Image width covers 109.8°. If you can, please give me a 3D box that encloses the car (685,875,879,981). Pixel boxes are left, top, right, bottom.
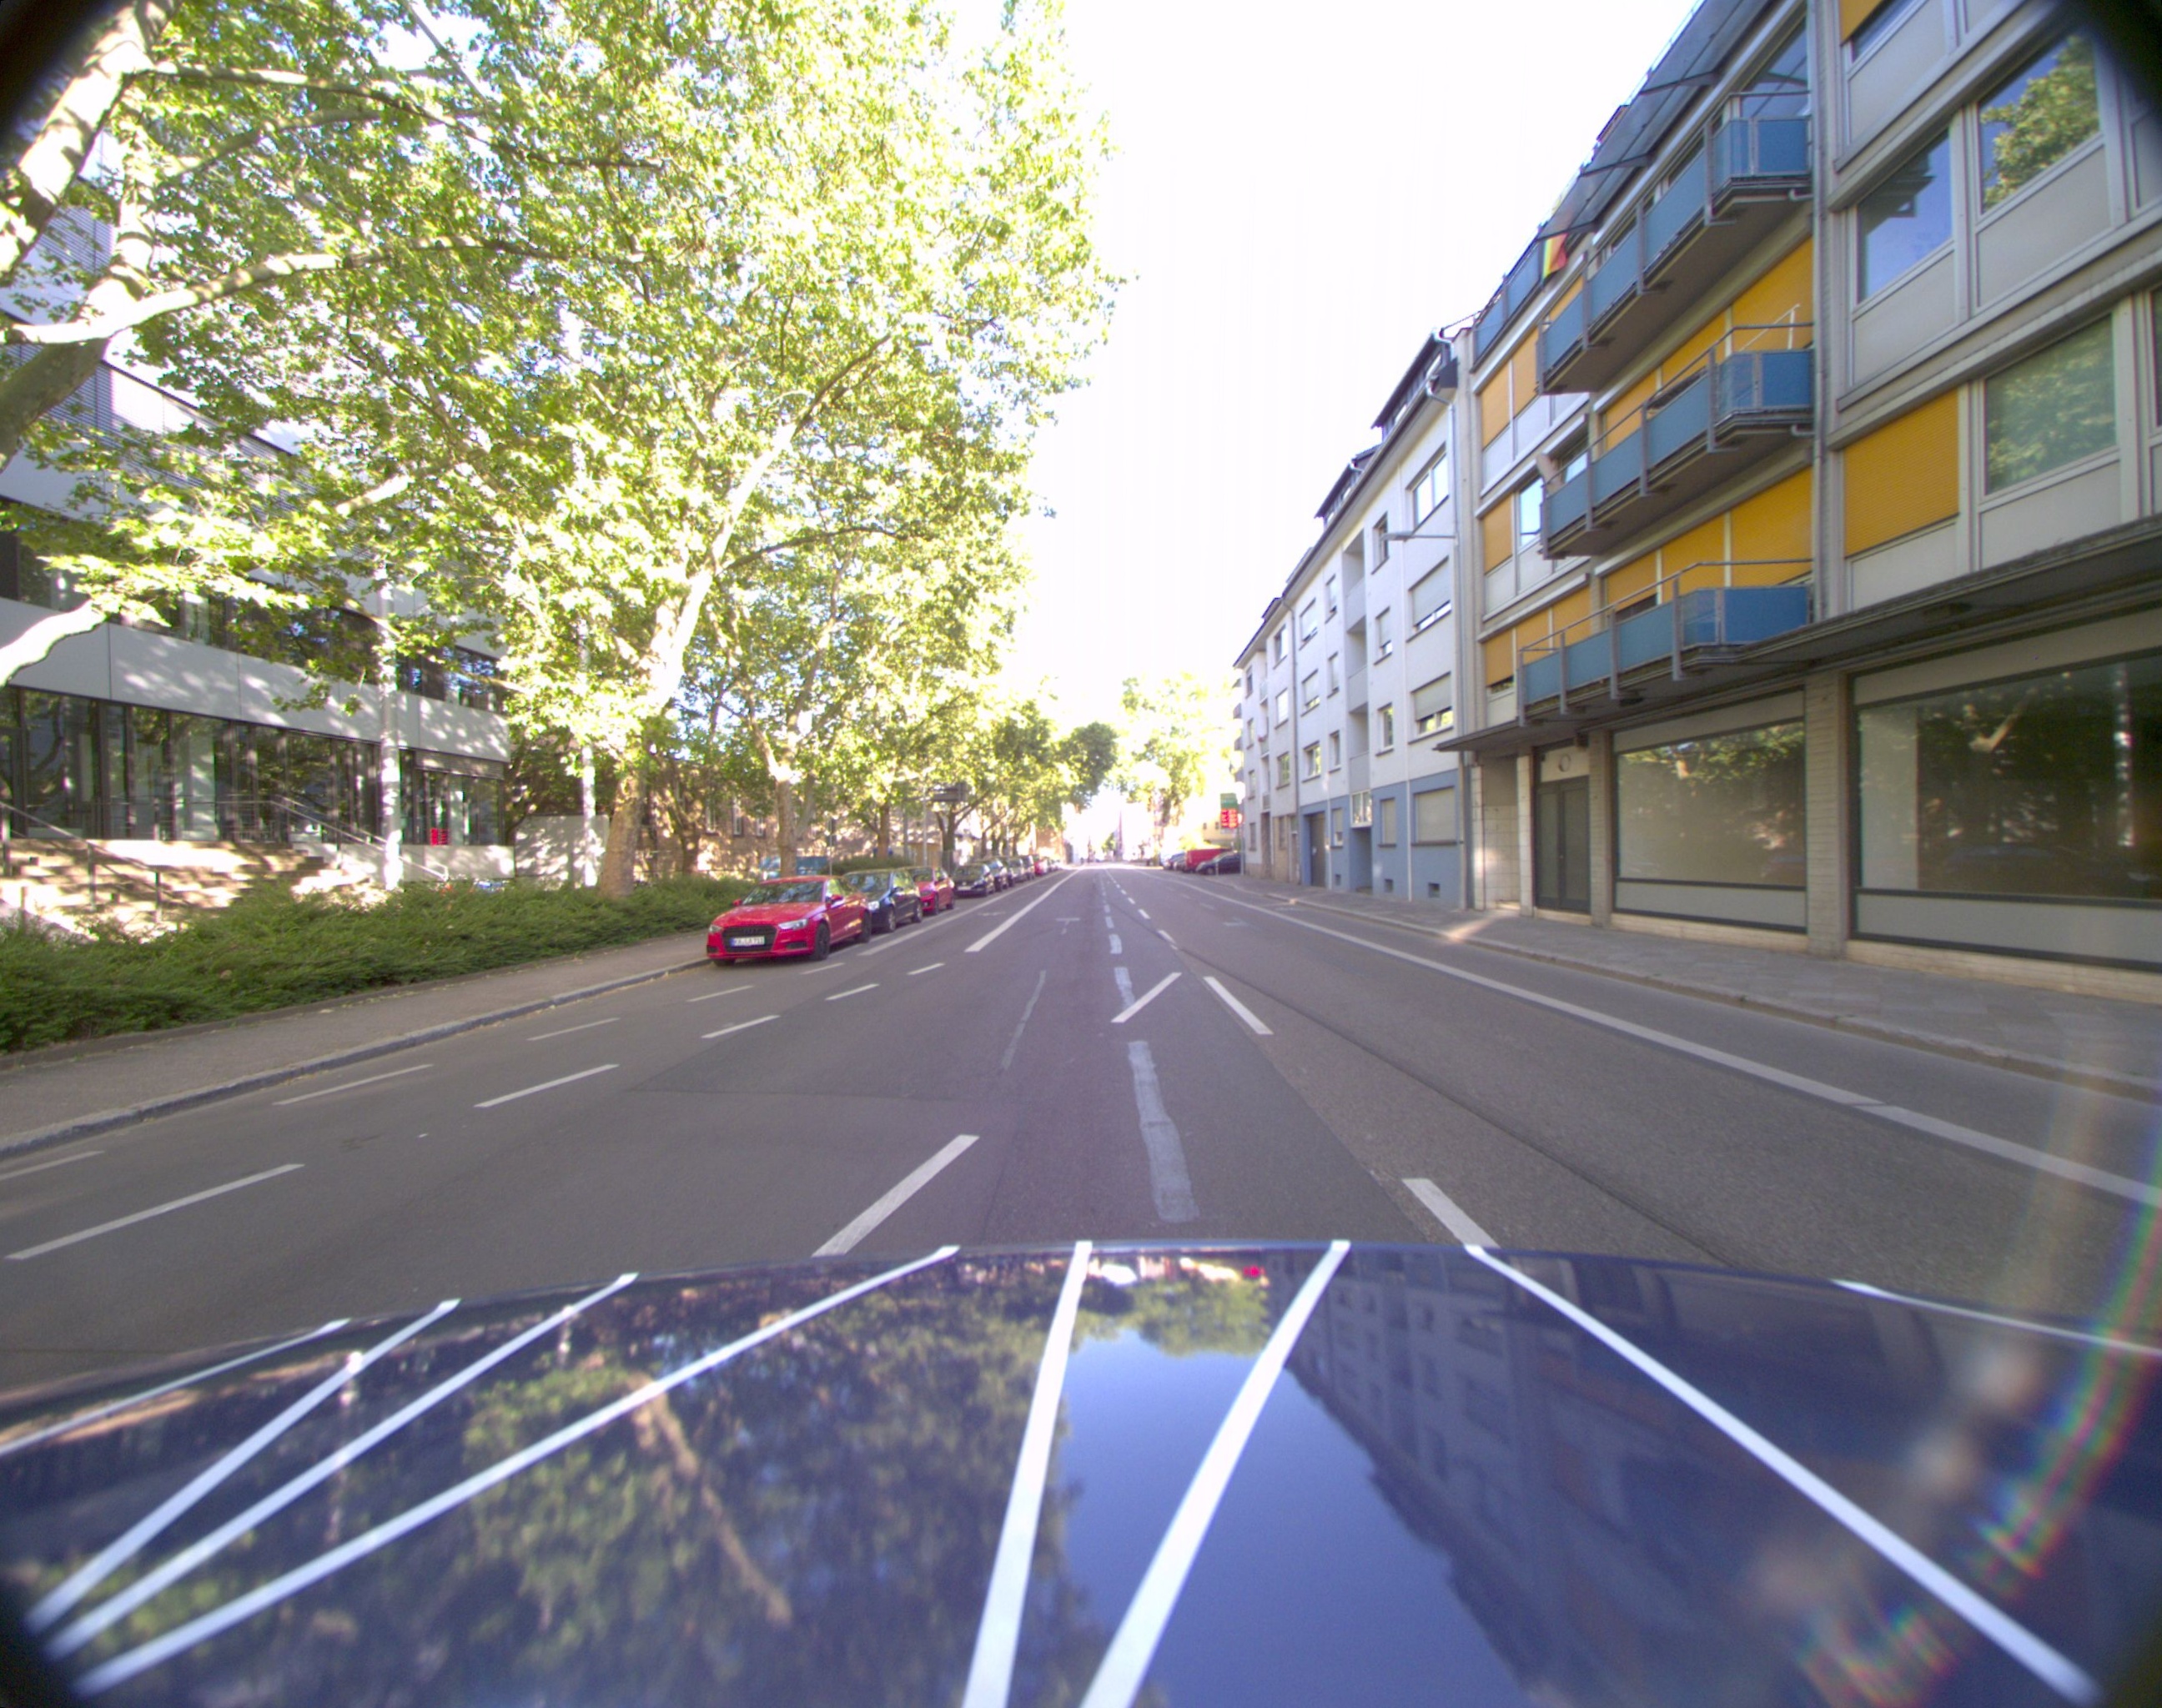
[{"bbox_3d":[-5.137,1.194,13.728,1.818,1.405,4.163,-3,0,0],"label":"car"}]

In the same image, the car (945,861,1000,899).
[{"bbox_3d":[-4.701,1.078,33.394,1.790,1.451,4.163,-3,0,0],"label":"car"}]

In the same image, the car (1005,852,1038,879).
[{"bbox_3d":[-4.317,0.797,55.670,2.042,1.745,4.552,-3,0,0],"label":"car"}]

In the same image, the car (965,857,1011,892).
[{"bbox_3d":[-4.600,0.979,38.139,1.790,1.544,4.163,-3,0,0],"label":"car"}]

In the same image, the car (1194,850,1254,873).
[{"bbox_3d":[10.254,0.551,54.803,3.996,1.449,1.761,-2,1,2],"label":"car"}]

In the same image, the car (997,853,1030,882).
[{"bbox_3d":[-4.445,0.853,50.711,1.790,1.745,4.552,-3,0,0],"label":"car"}]

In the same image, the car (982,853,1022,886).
[{"bbox_3d":[-4.523,0.870,44.156,1.790,1.745,4.345,-3,0,0],"label":"car"}]

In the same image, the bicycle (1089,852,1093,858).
[{"bbox_3d":[1.950,0.151,147.037,0.717,1.052,2.485,-2,1,1],"label":"bicycle"}]

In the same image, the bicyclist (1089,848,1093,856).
[{"bbox_3d":[1.927,-0.374,146.974,0.718,1.573,0.936,-2,1,1],"label":"bicyclist"}]

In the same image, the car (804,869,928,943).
[{"bbox_3d":[-5.081,1.171,18.584,1.818,1.405,4.163,-3,0,0],"label":"car"}]

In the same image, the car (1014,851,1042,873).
[{"bbox_3d":[-4.591,0.700,66.100,2.042,1.745,4.552,-3,0,0],"label":"car"}]

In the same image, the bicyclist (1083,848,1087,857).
[{"bbox_3d":[0.740,-0.262,145.946,0.718,1.573,0.936,-2,1,1],"label":"bicyclist"}]

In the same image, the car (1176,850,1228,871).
[{"bbox_3d":[9.978,0.531,62.852,3.996,1.494,1.761,-2,1,2],"label":"car"}]

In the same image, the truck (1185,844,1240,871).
[{"bbox_3d":[10.368,0.251,59.999,3.996,1.925,1.761,-2,1,2],"label":"truck"}]

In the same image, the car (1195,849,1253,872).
[{"bbox_3d":[10.728,0.485,57.150,3.996,1.494,1.761,-2,1,2],"label":"car"}]

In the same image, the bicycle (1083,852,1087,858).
[{"bbox_3d":[0.751,0.261,145.930,0.717,1.052,2.485,-2,1,1],"label":"bicycle"}]

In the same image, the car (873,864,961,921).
[{"bbox_3d":[-5.029,1.125,23.867,1.818,1.475,4.163,-3,0,0],"label":"car"}]
